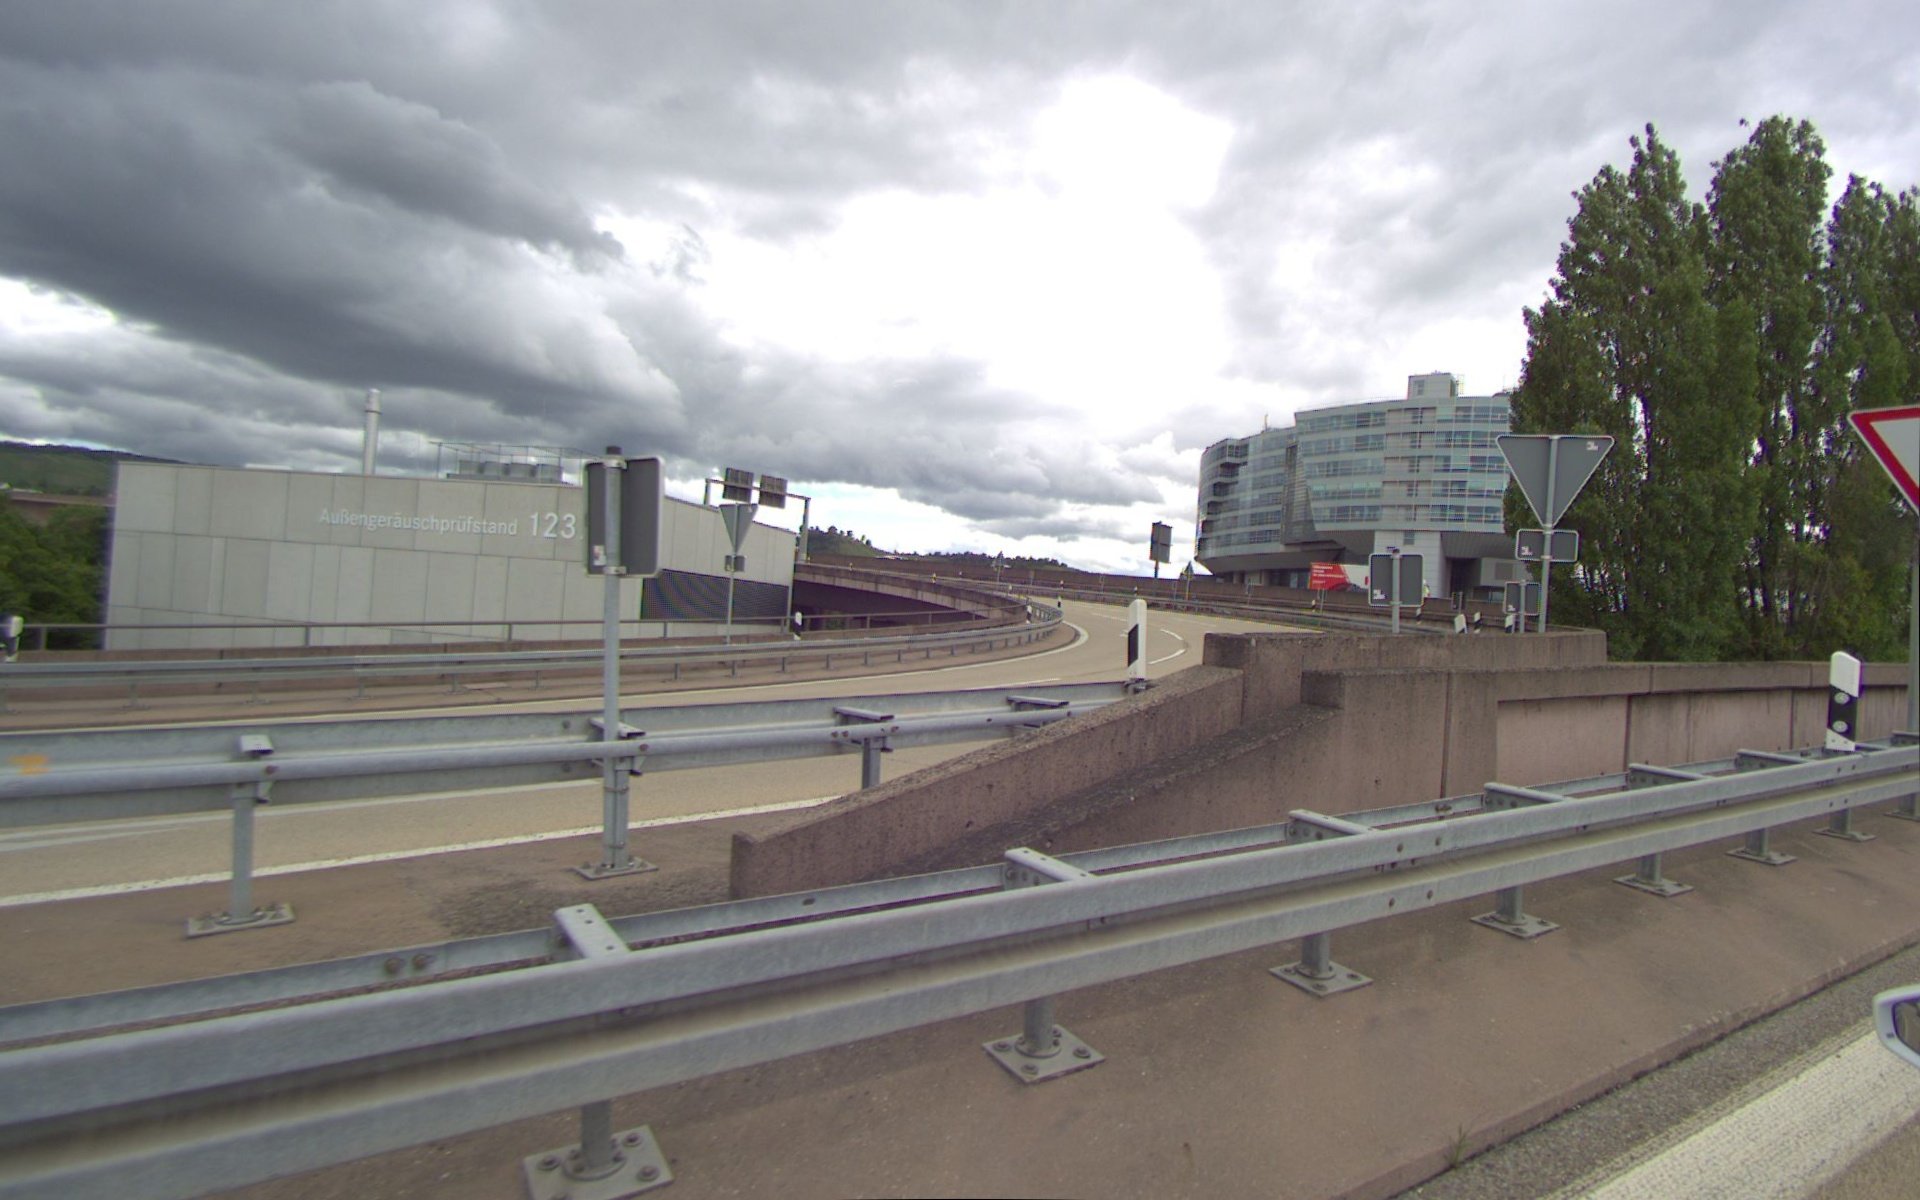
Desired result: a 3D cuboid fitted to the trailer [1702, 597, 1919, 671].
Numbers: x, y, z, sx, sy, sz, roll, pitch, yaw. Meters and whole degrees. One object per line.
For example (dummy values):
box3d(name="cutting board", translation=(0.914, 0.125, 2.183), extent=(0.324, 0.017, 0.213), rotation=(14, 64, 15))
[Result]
box3d(name="trailer", translation=(53.982, 2.087, 63.484), extent=(10.960, 3.786, 2.795), rotation=(4, 0, 32))

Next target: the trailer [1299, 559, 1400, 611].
box3d(name="trailer", translation=(32.116, -1.259, 82.936), extent=(7.186, 3.738, 2.693), rotation=(4, 0, 32))

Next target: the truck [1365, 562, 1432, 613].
box3d(name="truck", translation=(35.335, -1.010, 80.893), extent=(4.362, 3.738, 2.693), rotation=(4, 0, 33))

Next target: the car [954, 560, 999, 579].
box3d(name="car", translation=(1.555, -2.917, 96.406), extent=(3.931, 1.517, 1.710), rotation=(5, 3, 33))

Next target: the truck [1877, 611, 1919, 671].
box3d(name="truck", translation=(59.294, 2.633, 60.147), extent=(5.861, 3.475, 2.772), rotation=(4, 0, 32))
